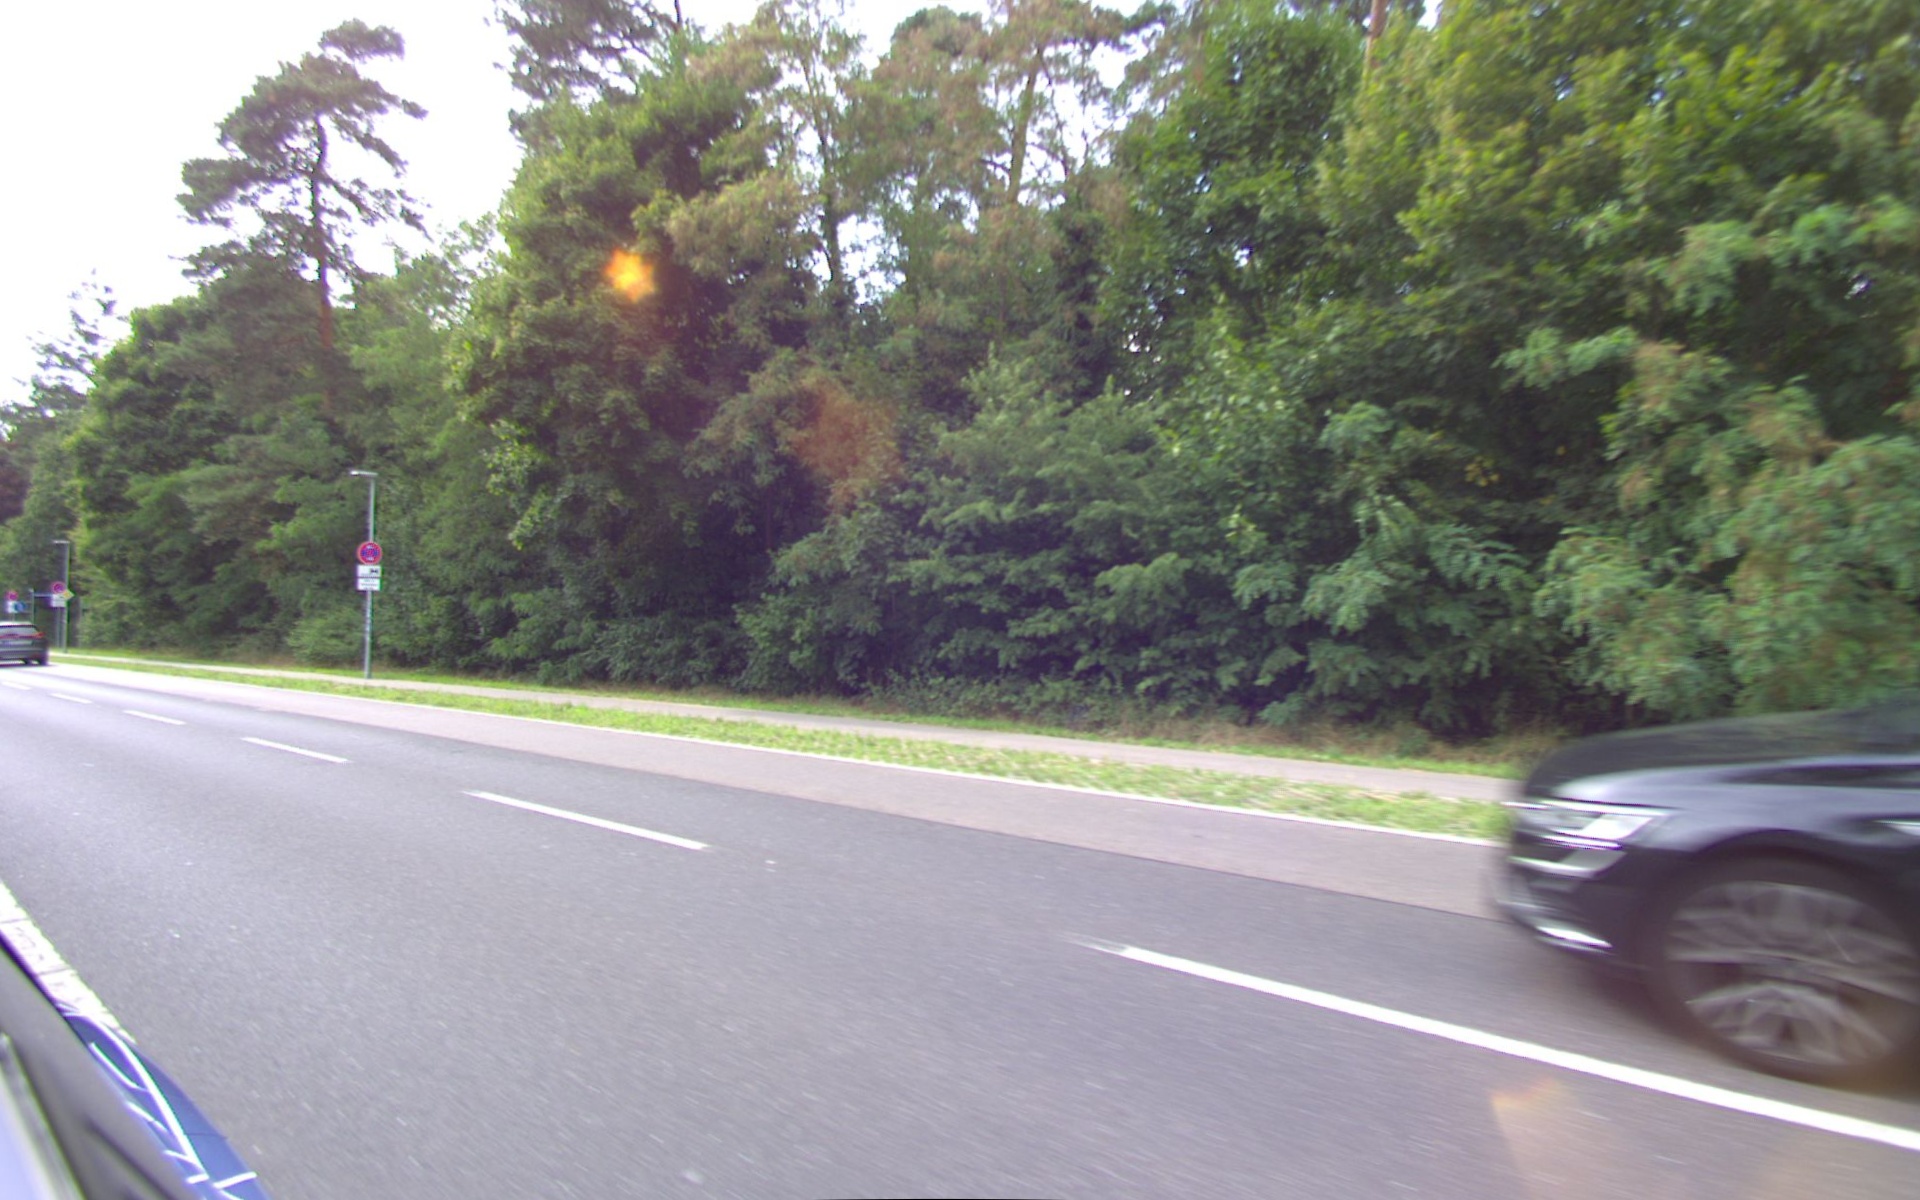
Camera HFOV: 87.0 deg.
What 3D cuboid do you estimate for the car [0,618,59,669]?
[{"bbox_3d":[-31.076,1.388,32.959,4.533,1.495,1.878,0,0,39],"label":"car"}]

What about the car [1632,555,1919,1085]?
[{"bbox_3d":[4.398,0.549,2.467,4.400,1.453,1.862,-1,1,41],"label":"car"}]
